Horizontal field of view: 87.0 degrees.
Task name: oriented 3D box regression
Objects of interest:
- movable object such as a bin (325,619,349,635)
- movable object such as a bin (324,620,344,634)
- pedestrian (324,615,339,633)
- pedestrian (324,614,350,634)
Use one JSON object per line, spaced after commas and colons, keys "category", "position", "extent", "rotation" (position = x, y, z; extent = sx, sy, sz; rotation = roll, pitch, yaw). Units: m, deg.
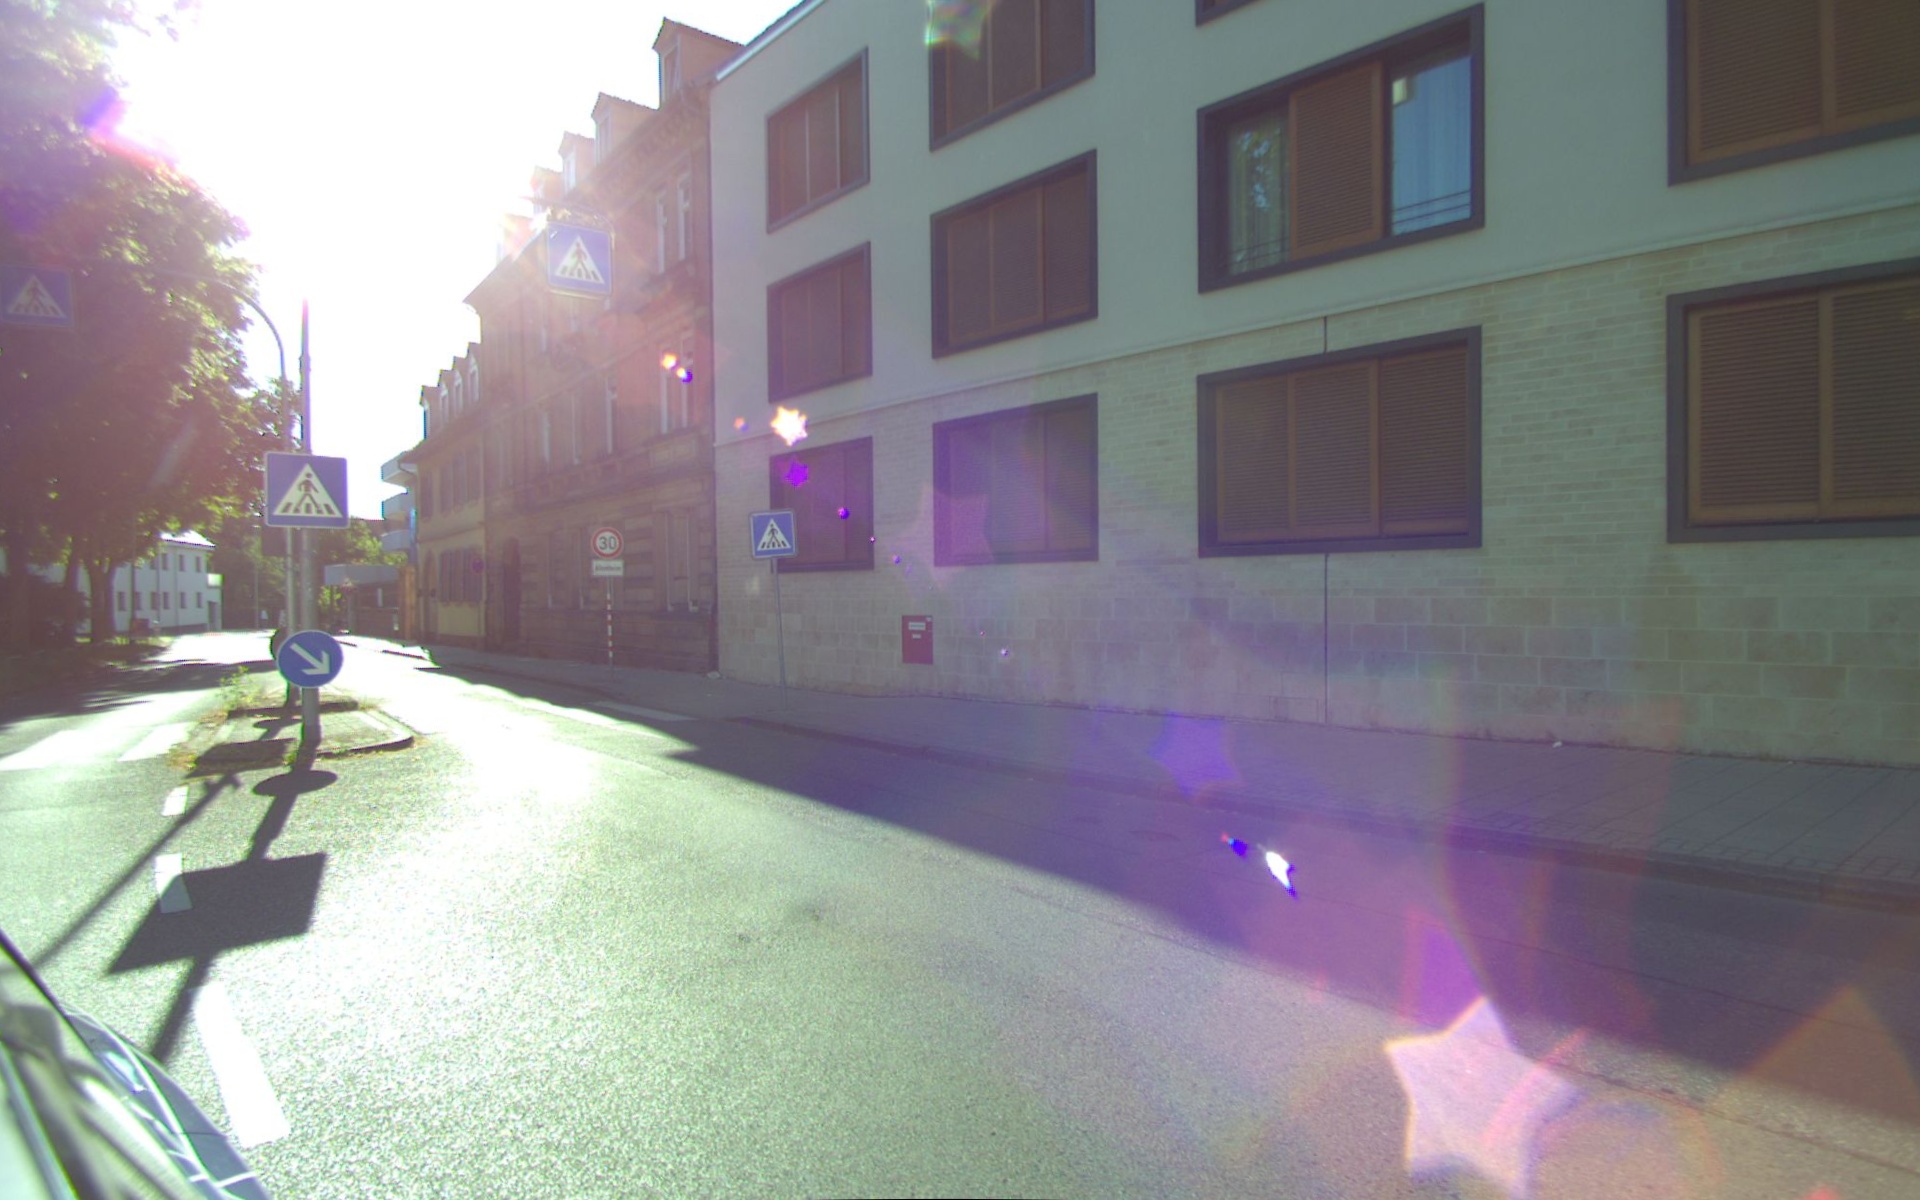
{"category": "movable object such as a bin", "position": [-40.751, 1.750, 66.161], "extent": [1.023, 0.935, 0.841], "rotation": [-3, 1, -2]}
{"category": "movable object such as a bin", "position": [-44.383, 1.905, 71.799], "extent": [1.023, 0.935, 0.841], "rotation": [-4, 2, -44]}
{"category": "pedestrian", "position": [-44.520, 1.704, 71.684], "extent": [0.732, 1.194, 0.841], "rotation": [-4, 2, -44]}
{"category": "pedestrian", "position": [-40.721, 1.564, 66.163], "extent": [1.141, 1.238, 0.841], "rotation": [-3, 1, -2]}
